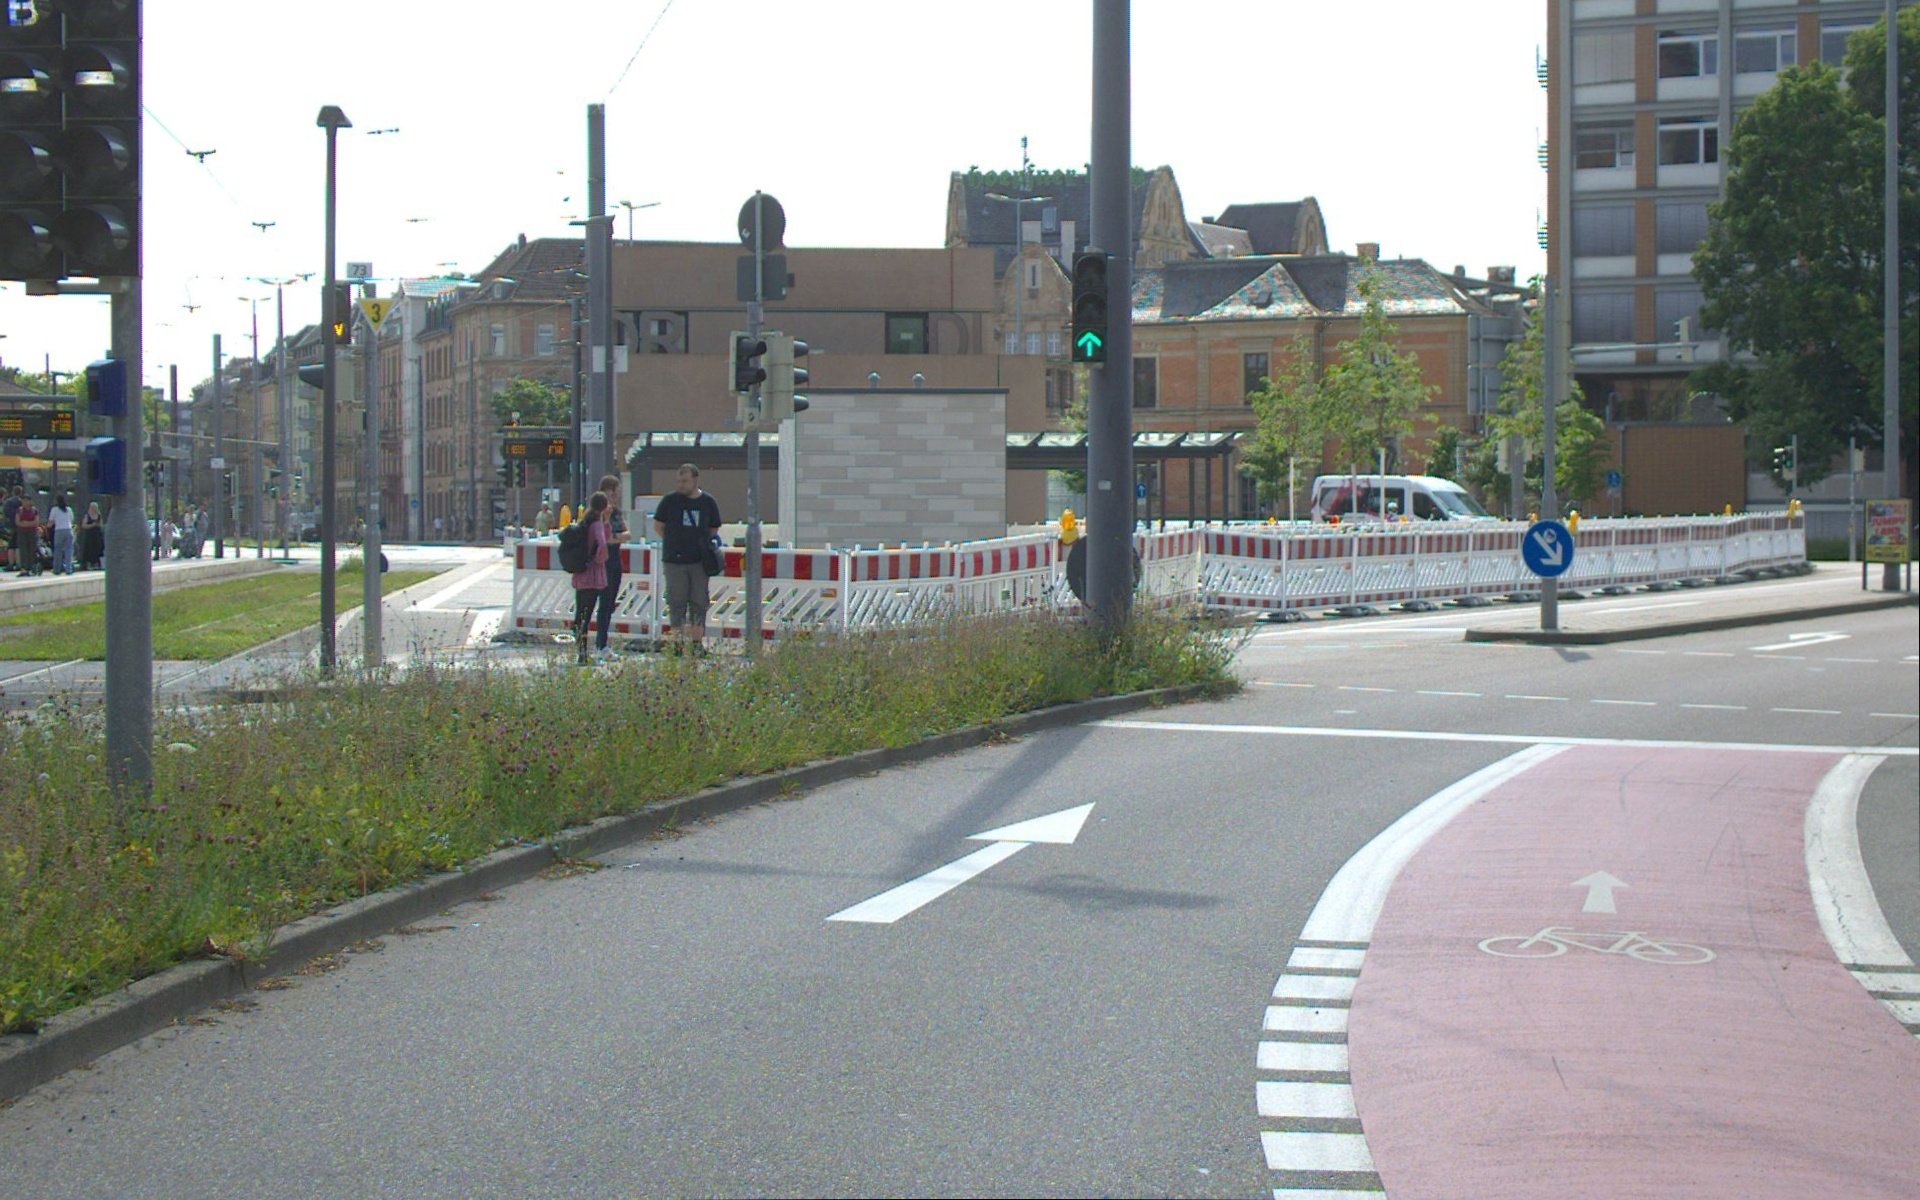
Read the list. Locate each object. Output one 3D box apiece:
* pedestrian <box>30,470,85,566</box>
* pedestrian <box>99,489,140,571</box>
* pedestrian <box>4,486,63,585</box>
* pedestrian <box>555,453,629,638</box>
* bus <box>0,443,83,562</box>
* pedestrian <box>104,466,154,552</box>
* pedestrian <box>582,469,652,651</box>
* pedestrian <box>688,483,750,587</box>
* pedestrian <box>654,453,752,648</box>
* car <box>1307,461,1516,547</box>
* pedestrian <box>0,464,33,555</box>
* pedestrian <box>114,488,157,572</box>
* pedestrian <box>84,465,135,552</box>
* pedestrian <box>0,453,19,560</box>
[{"bbox_3d":[-18.926,-1.717,72.115,0.940,2.007,0.731,0,1,-31],"label":"pedestrian"},{"bbox_3d":[-20.944,-1.744,85.685,0.940,2.007,0.731,0,1,-17],"label":"pedestrian"},{"bbox_3d":[-18.808,-1.308,69.787,0.941,2.007,0.731,0,1,-36],"label":"pedestrian"},{"bbox_3d":[-3.423,-0.509,31.962,0.611,1.701,0.623,-1,1,-12],"label":"pedestrian"},{"bbox_3d":[-25.205,-2.571,91.184,2.422,2.972,10.547,-1,2,-7],"label":"bus"},{"bbox_3d":[-19.489,-2.130,80.603,0.940,2.007,0.731,0,1,-32],"label":"pedestrian"},{"bbox_3d":[-3.301,-0.389,33.101,0.409,1.730,0.620,0,2,24],"label":"pedestrian"},{"bbox_3d":[-4.177,-1.124,59.515,0.933,1.784,1.179,0,1,-11],"label":"pedestrian"},{"bbox_3d":[-2.513,-0.492,33.608,0.791,1.878,0.613,-1,2,-21],"label":"pedestrian"},{"bbox_3d":[12.476,-2.625,95.306,2.295,2.311,5.586,-1,2,-42],"label":"car"},{"bbox_3d":[-21.150,-2.007,76.292,0.940,2.007,0.731,0,1,-32],"label":"pedestrian"},{"bbox_3d":[-19.770,-1.672,82.423,0.940,2.007,0.731,0,1,-17],"label":"pedestrian"},{"bbox_3d":[-19.692,-2.114,79.595,0.940,2.007,0.731,0,1,-32],"label":"pedestrian"},{"bbox_3d":[-18.354,-1.772,64.909,0.940,2.007,0.731,0,1,-32],"label":"pedestrian"}]
